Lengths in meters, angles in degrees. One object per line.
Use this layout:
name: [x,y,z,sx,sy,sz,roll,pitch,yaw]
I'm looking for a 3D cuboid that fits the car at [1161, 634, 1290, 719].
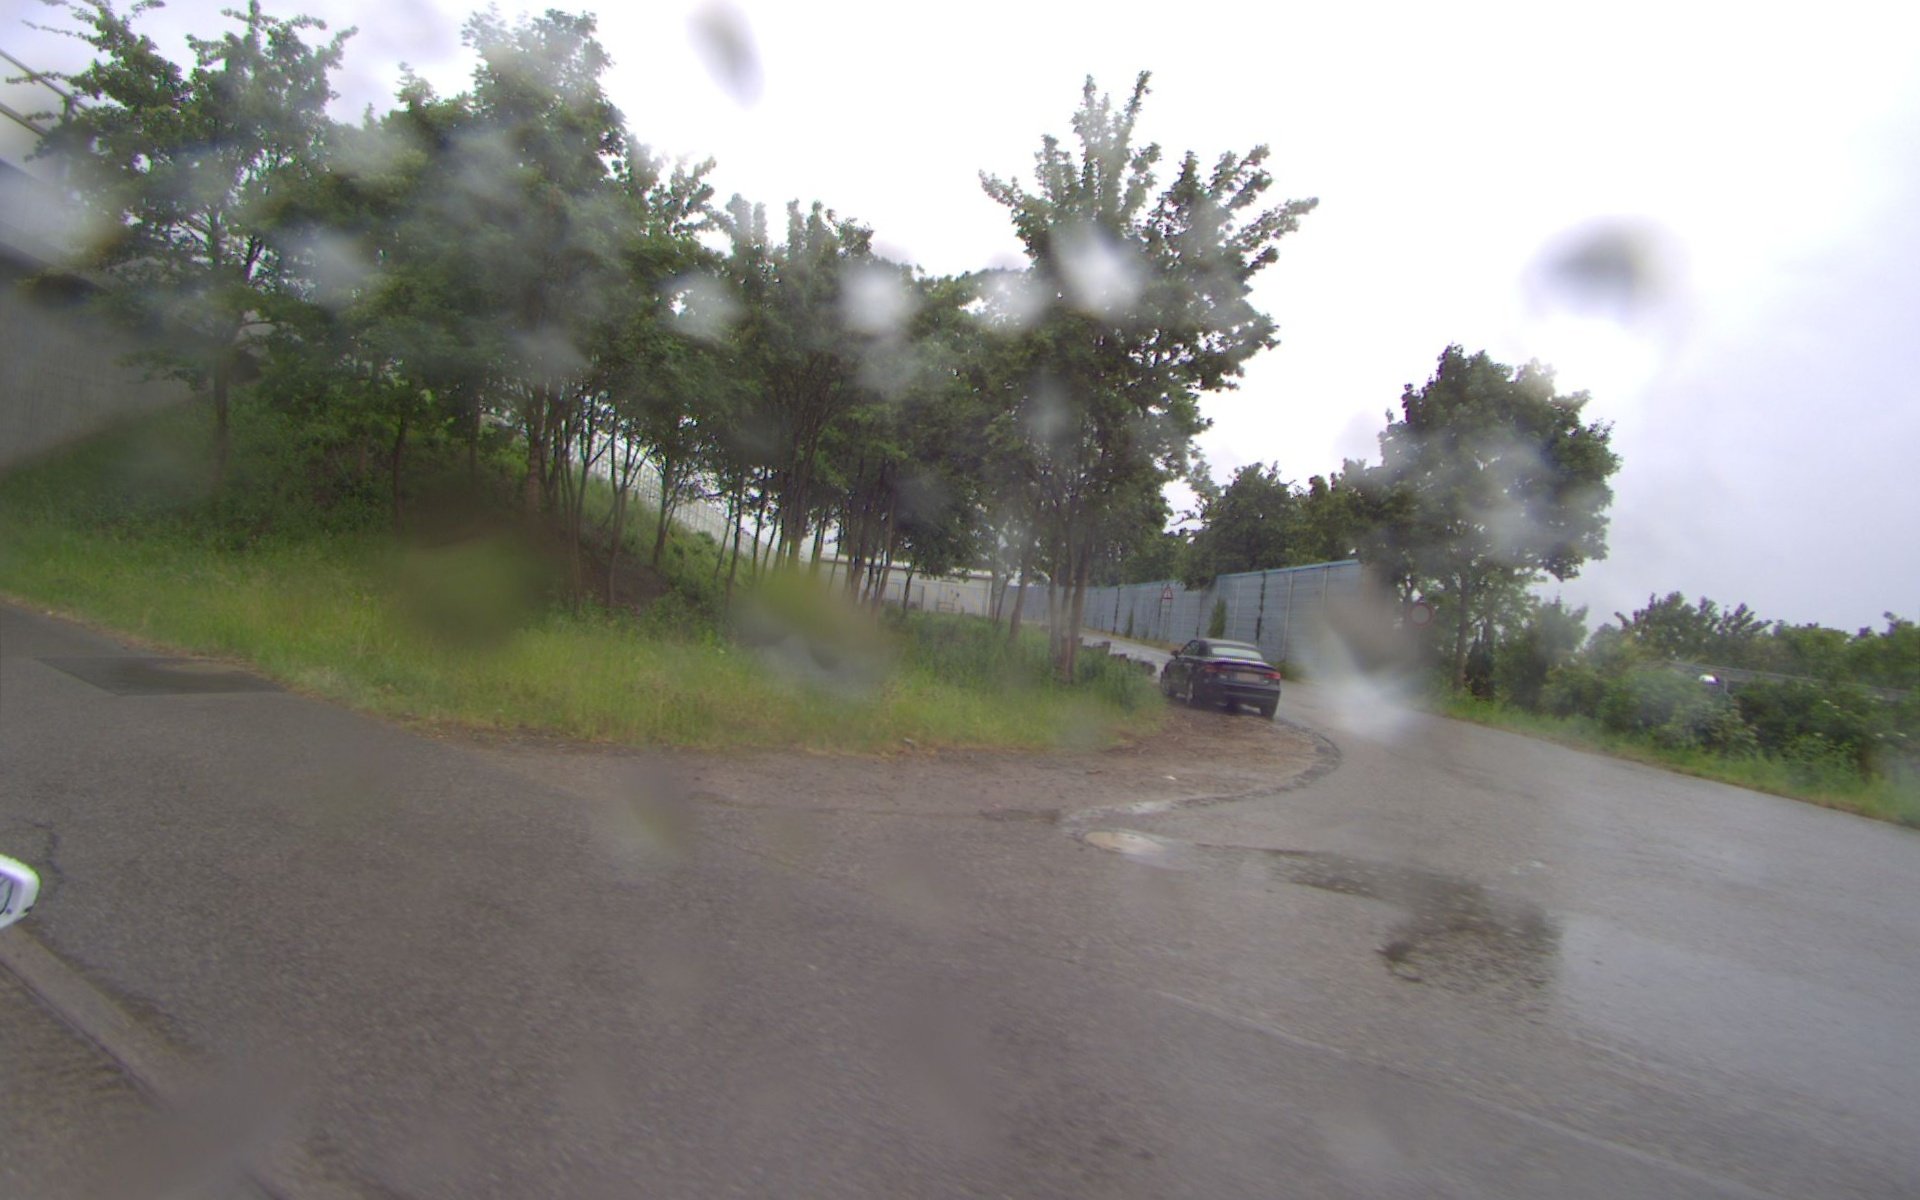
car: [5.454,1.569,21.204,1.869,1.374,4.117,7,-2,6]
